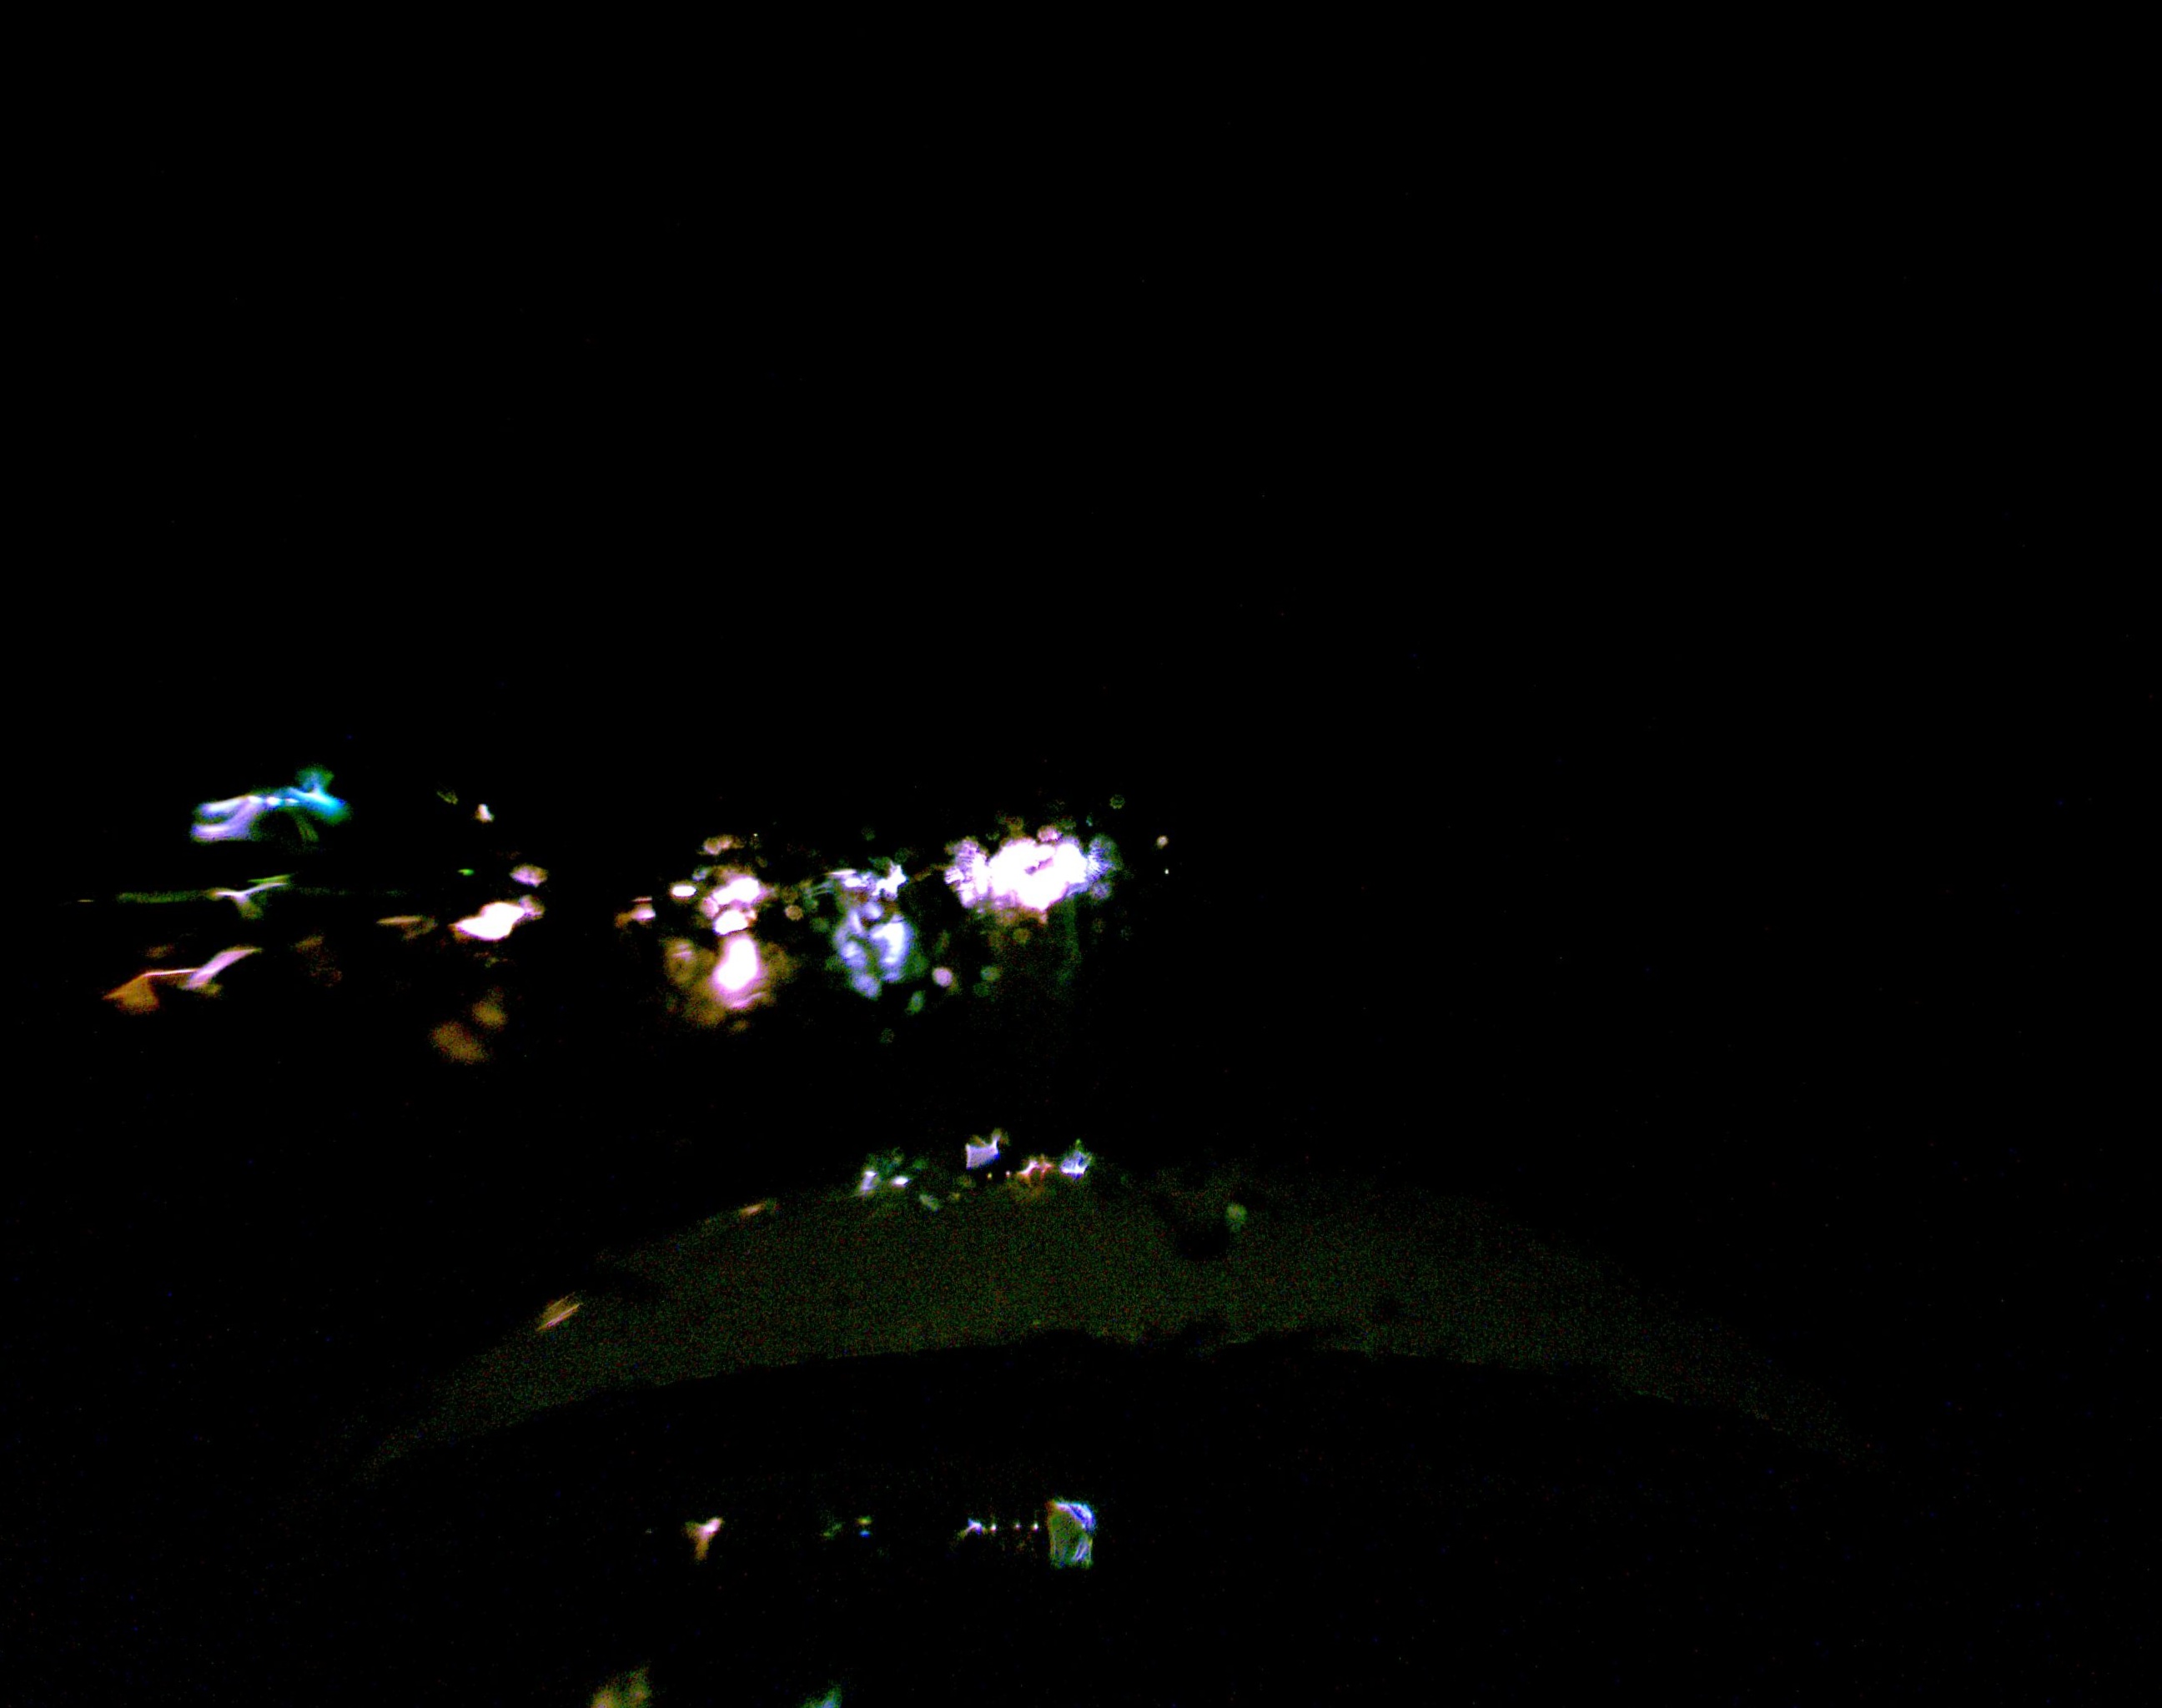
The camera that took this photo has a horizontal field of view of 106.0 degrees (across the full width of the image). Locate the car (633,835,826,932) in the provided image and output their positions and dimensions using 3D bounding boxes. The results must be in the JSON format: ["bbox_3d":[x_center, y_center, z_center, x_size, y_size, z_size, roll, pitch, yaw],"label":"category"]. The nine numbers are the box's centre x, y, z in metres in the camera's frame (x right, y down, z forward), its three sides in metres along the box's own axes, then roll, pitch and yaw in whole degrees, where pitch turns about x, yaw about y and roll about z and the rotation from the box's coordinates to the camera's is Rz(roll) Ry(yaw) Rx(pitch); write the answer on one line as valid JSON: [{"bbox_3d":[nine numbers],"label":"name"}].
[{"bbox_3d":[-8.153,0.621,19.559,2.144,2.013,5.001,0,0,4],"label":"car"}]

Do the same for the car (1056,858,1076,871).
[{"bbox_3d":[-1.745,1.255,97.598,2.102,1.575,4.682,0,0,2],"label":"car"}]

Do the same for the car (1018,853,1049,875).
[{"bbox_3d":[-4.168,0.868,72.542,1.984,1.865,5.327,0,0,5],"label":"car"}]

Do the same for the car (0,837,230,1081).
[{"bbox_3d":[-8.814,0.748,5.114,1.984,1.746,4.505,0,0,5],"label":"car"}]

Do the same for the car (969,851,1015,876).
[{"bbox_3d":[-5.885,0.614,54.563,2.073,1.542,4.905,0,0,5],"label":"car"}]

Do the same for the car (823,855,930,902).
[{"bbox_3d":[-7.367,0.824,29.945,2.171,1.558,5.212,0,0,5],"label":"car"}]

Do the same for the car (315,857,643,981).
[{"bbox_3d":[-8.547,0.816,12.055,1.957,1.529,3.691,0,0,3],"label":"car"}]
